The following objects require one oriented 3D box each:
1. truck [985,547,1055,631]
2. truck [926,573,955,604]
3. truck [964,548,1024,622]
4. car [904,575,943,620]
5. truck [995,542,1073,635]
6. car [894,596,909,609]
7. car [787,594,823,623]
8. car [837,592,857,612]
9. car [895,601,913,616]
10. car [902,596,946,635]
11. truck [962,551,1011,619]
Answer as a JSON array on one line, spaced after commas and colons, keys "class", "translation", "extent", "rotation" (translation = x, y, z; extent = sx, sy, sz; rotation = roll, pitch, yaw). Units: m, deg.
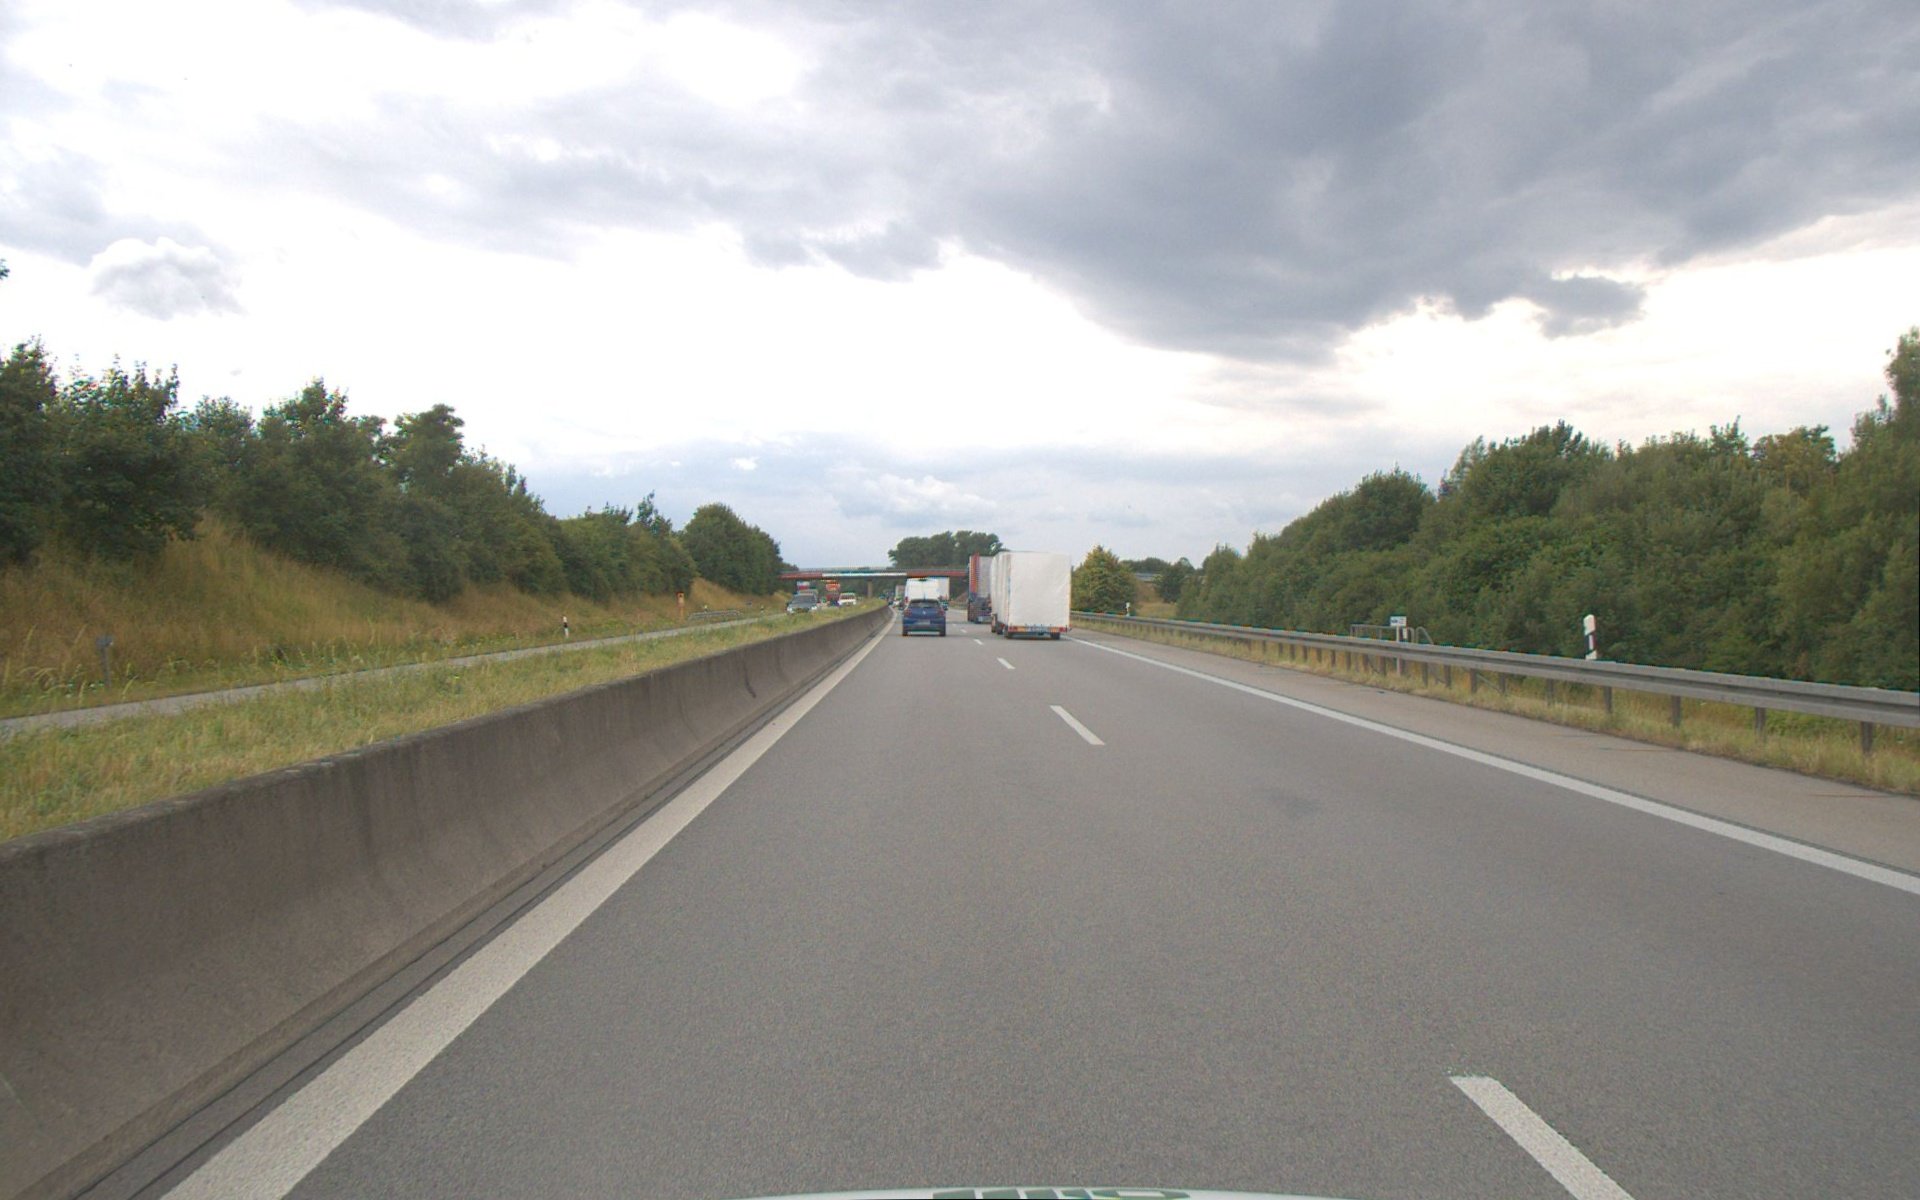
[{"class": "truck", "translation": [2.426, -0.425, 68.900], "extent": [2.381, 3.300, 7.244], "rotation": [0, 0, -2]}, {"class": "truck", "translation": [-2.498, -1.447, 210.155], "extent": [3.049, 3.754, 9.316], "rotation": [-2, 0, -3]}, {"class": "truck", "translation": [1.921, -0.878, 97.609], "extent": [2.620, 4.116, 11.100], "rotation": [-1, 0, -3]}, {"class": "car", "translation": [-2.144, -0.161, 96.012], "extent": [2.087, 2.526, 5.836], "rotation": [0, 0, -3]}, {"class": "truck", "translation": [2.664, -0.395, 61.713], "extent": [2.366, 3.278, 7.141], "rotation": [0, 0, -2]}, {"class": "car", "translation": [-8.004, 0.345, 227.567], "extent": [1.954, 1.713, 3.997], "rotation": [0, 0, -3]}, {"class": "car", "translation": [-9.563, 0.511, 102.304], "extent": [1.880, 1.723, 4.595], "rotation": [-2, 0, -1]}, {"class": "car", "translation": [-11.889, 0.157, 174.488], "extent": [1.939, 2.049, 5.128], "rotation": [0, 0, -2]}, {"class": "car", "translation": [-6.540, 1.009, 194.071], "extent": [1.895, 1.672, 4.903], "rotation": [0, 0, 0]}, {"class": "car", "translation": [-1.377, 0.581, 63.764], "extent": [1.630, 1.431, 3.648], "rotation": [0, 0, -1]}, {"class": "truck", "translation": [1.615, -0.920, 102.996], "extent": [2.620, 4.116, 5.508], "rotation": [-1, 0, -3]}]
